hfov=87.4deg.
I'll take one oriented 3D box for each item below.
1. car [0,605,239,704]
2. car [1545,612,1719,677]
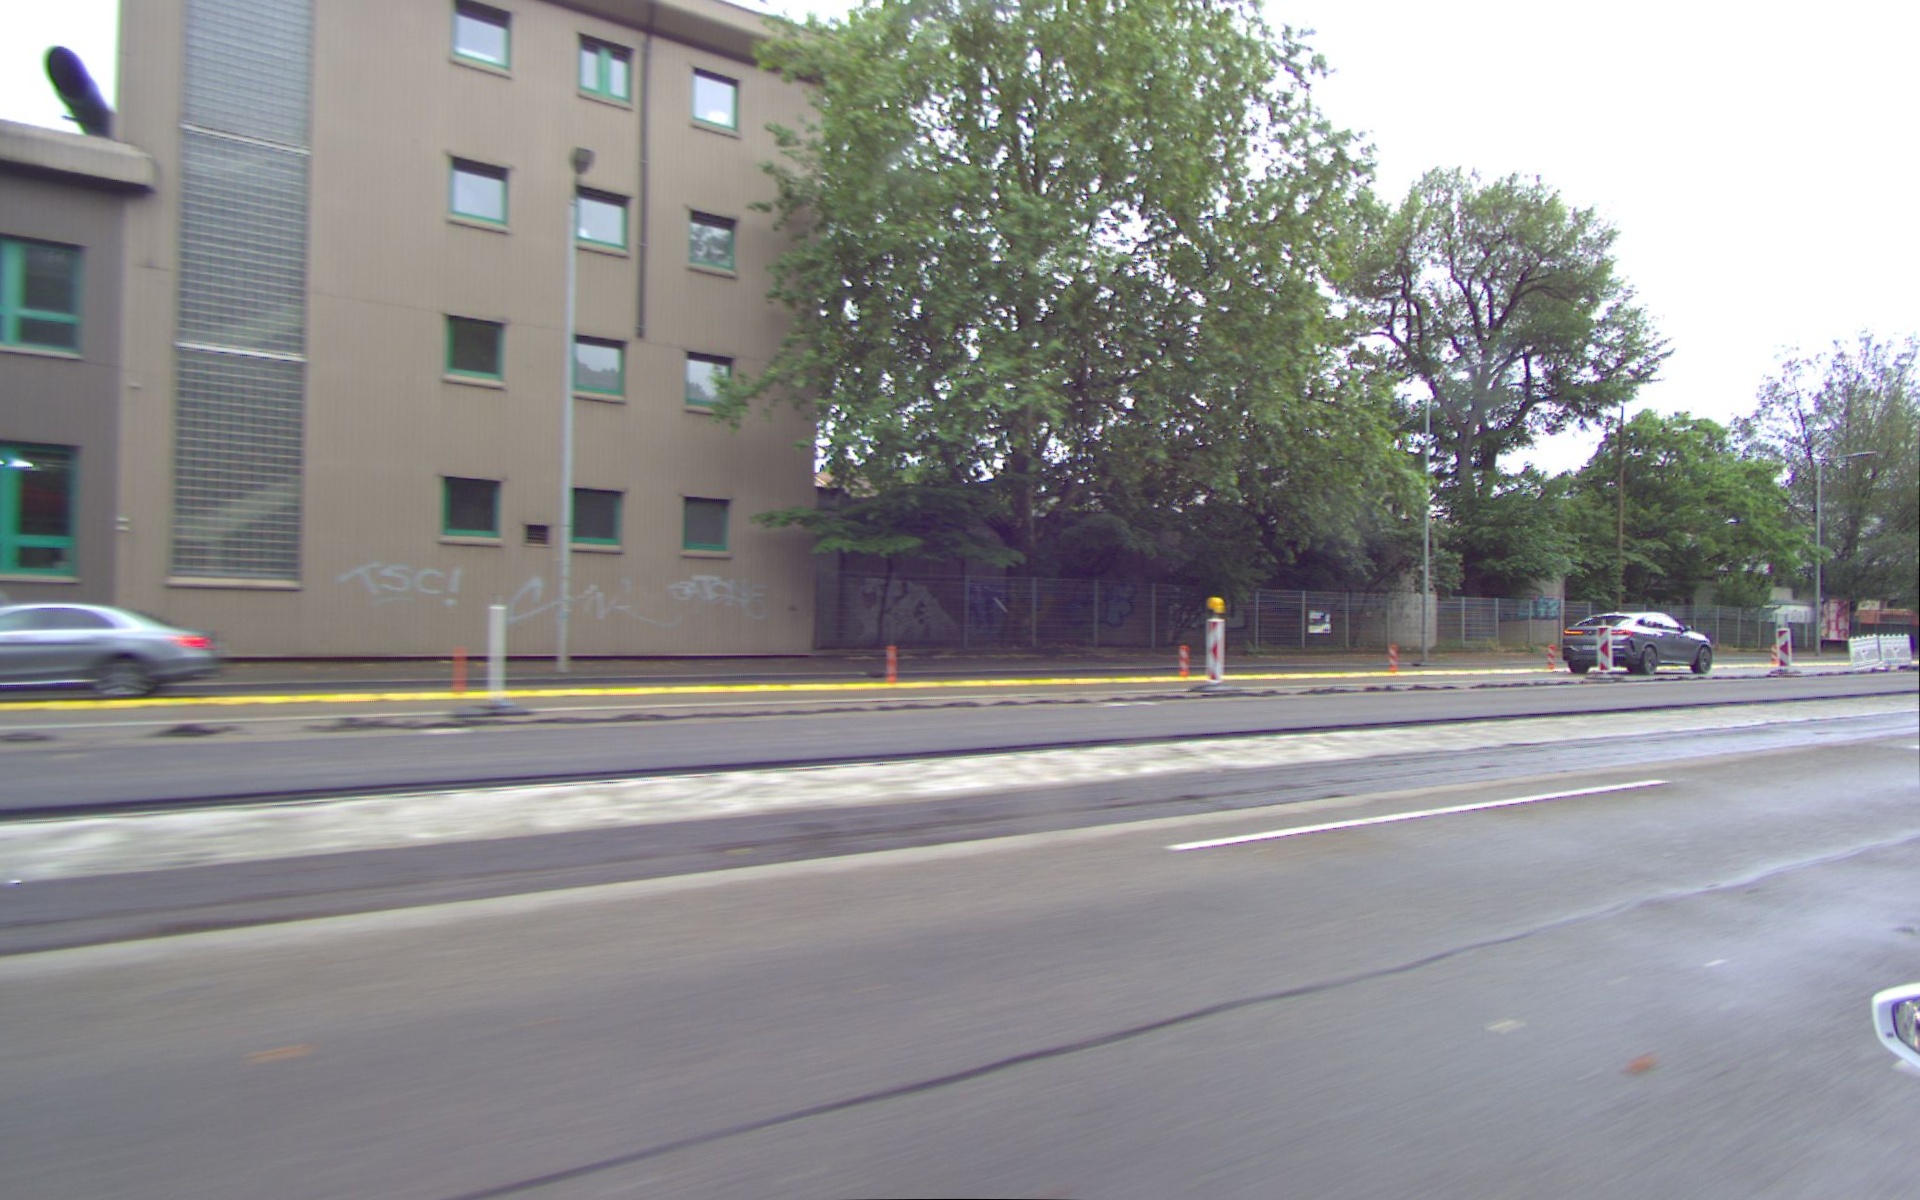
[{"bbox_3d":[-13.888,0.785,15.091,4.734,1.366,1.984,2,0,-30],"label":"car"},{"bbox_3d":[18.696,1.211,27.892,4.998,1.634,2.066,2,0,-31],"label":"car"}]
